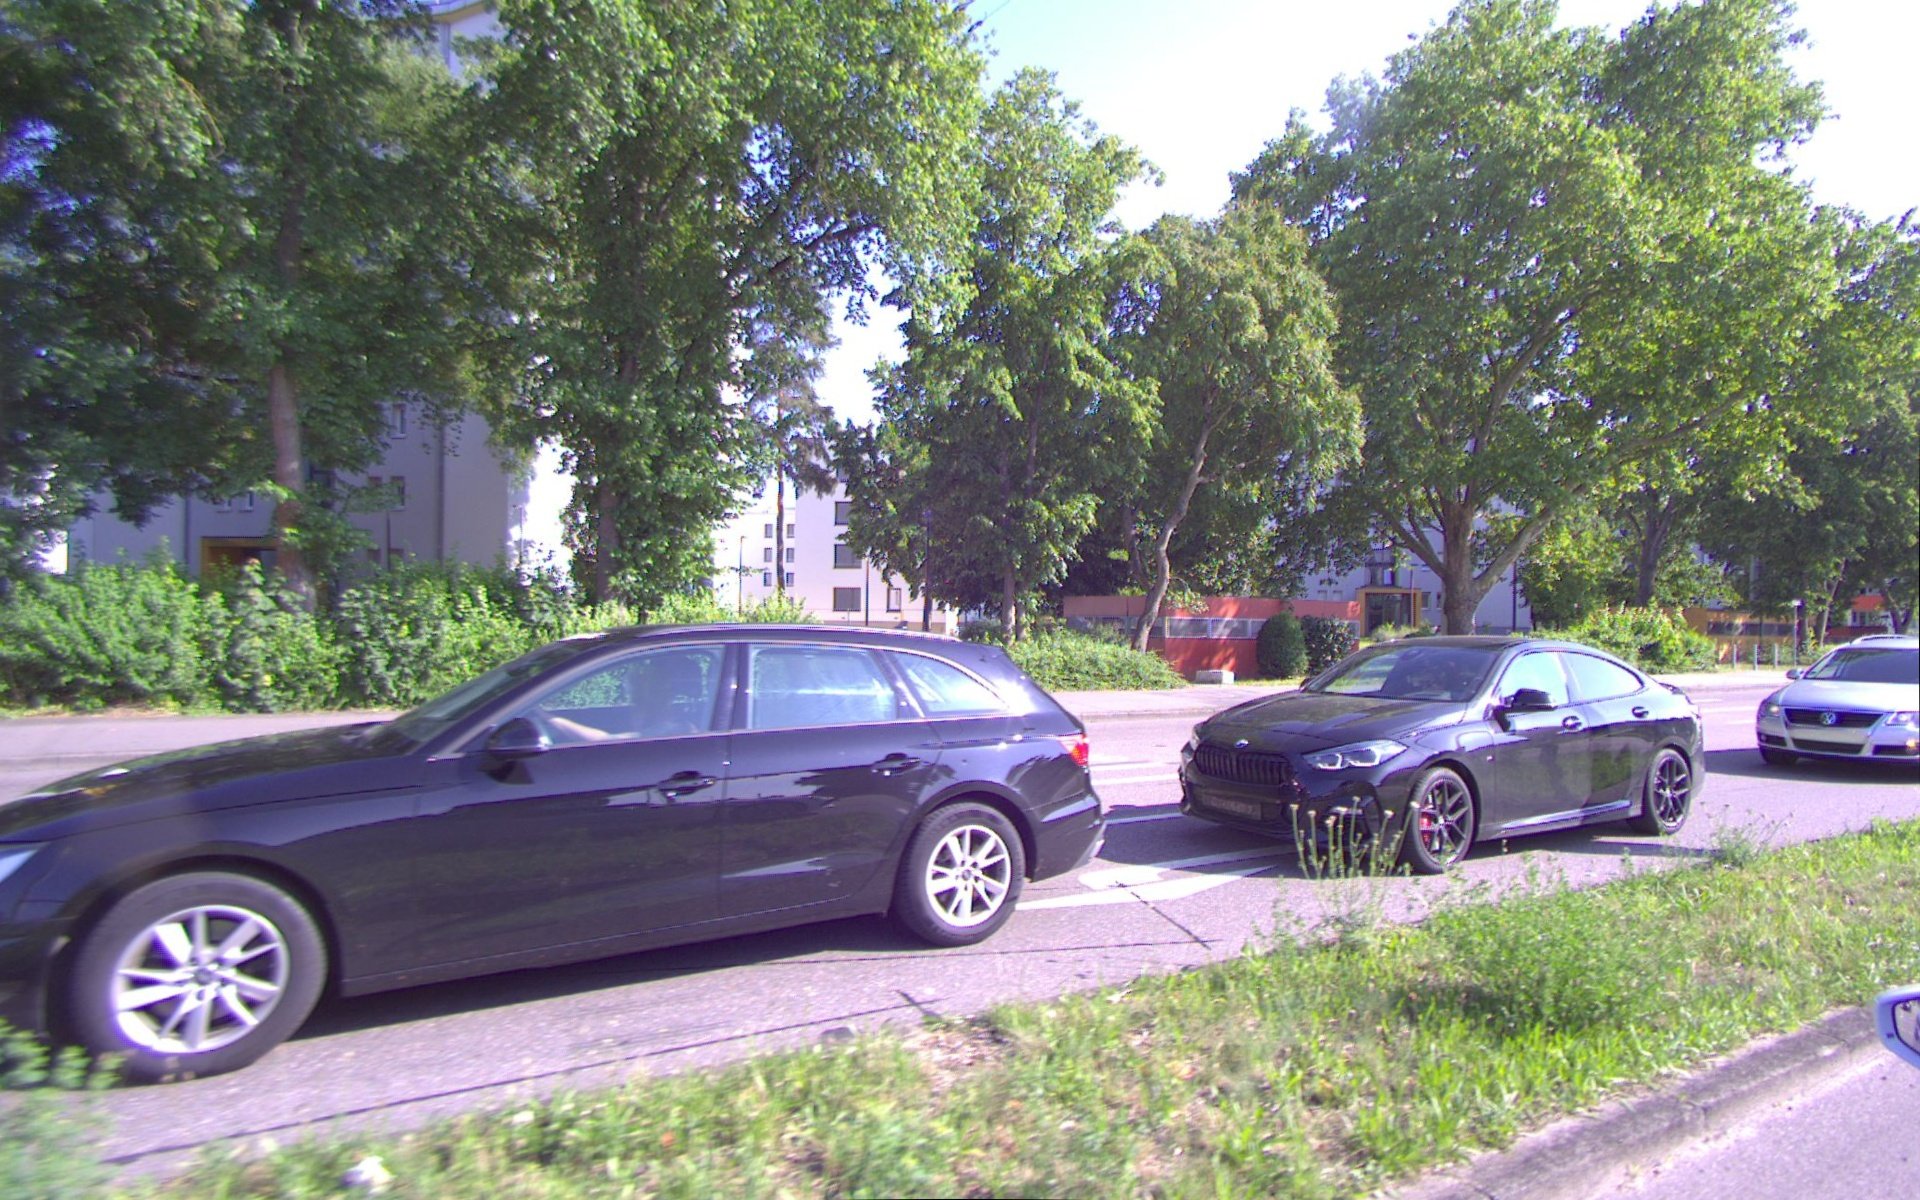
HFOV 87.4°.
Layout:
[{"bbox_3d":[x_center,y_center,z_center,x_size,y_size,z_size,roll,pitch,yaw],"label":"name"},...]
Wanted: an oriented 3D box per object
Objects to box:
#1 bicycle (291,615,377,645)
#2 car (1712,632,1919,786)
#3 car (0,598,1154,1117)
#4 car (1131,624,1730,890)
[{"bbox_3d":[-20.221,0.942,32.500,0.658,0.932,2.405,1,-1,25],"label":"bicycle"},{"bbox_3d":[10.986,1.132,11.677,4.588,1.497,1.841,1,-2,-29],"label":"car"},{"bbox_3d":[-1.484,0.782,4.610,4.677,1.450,1.820,1,-2,-31],"label":"car"},{"bbox_3d":[3.526,0.926,7.375,4.327,1.454,1.821,1,-2,-29],"label":"car"}]
